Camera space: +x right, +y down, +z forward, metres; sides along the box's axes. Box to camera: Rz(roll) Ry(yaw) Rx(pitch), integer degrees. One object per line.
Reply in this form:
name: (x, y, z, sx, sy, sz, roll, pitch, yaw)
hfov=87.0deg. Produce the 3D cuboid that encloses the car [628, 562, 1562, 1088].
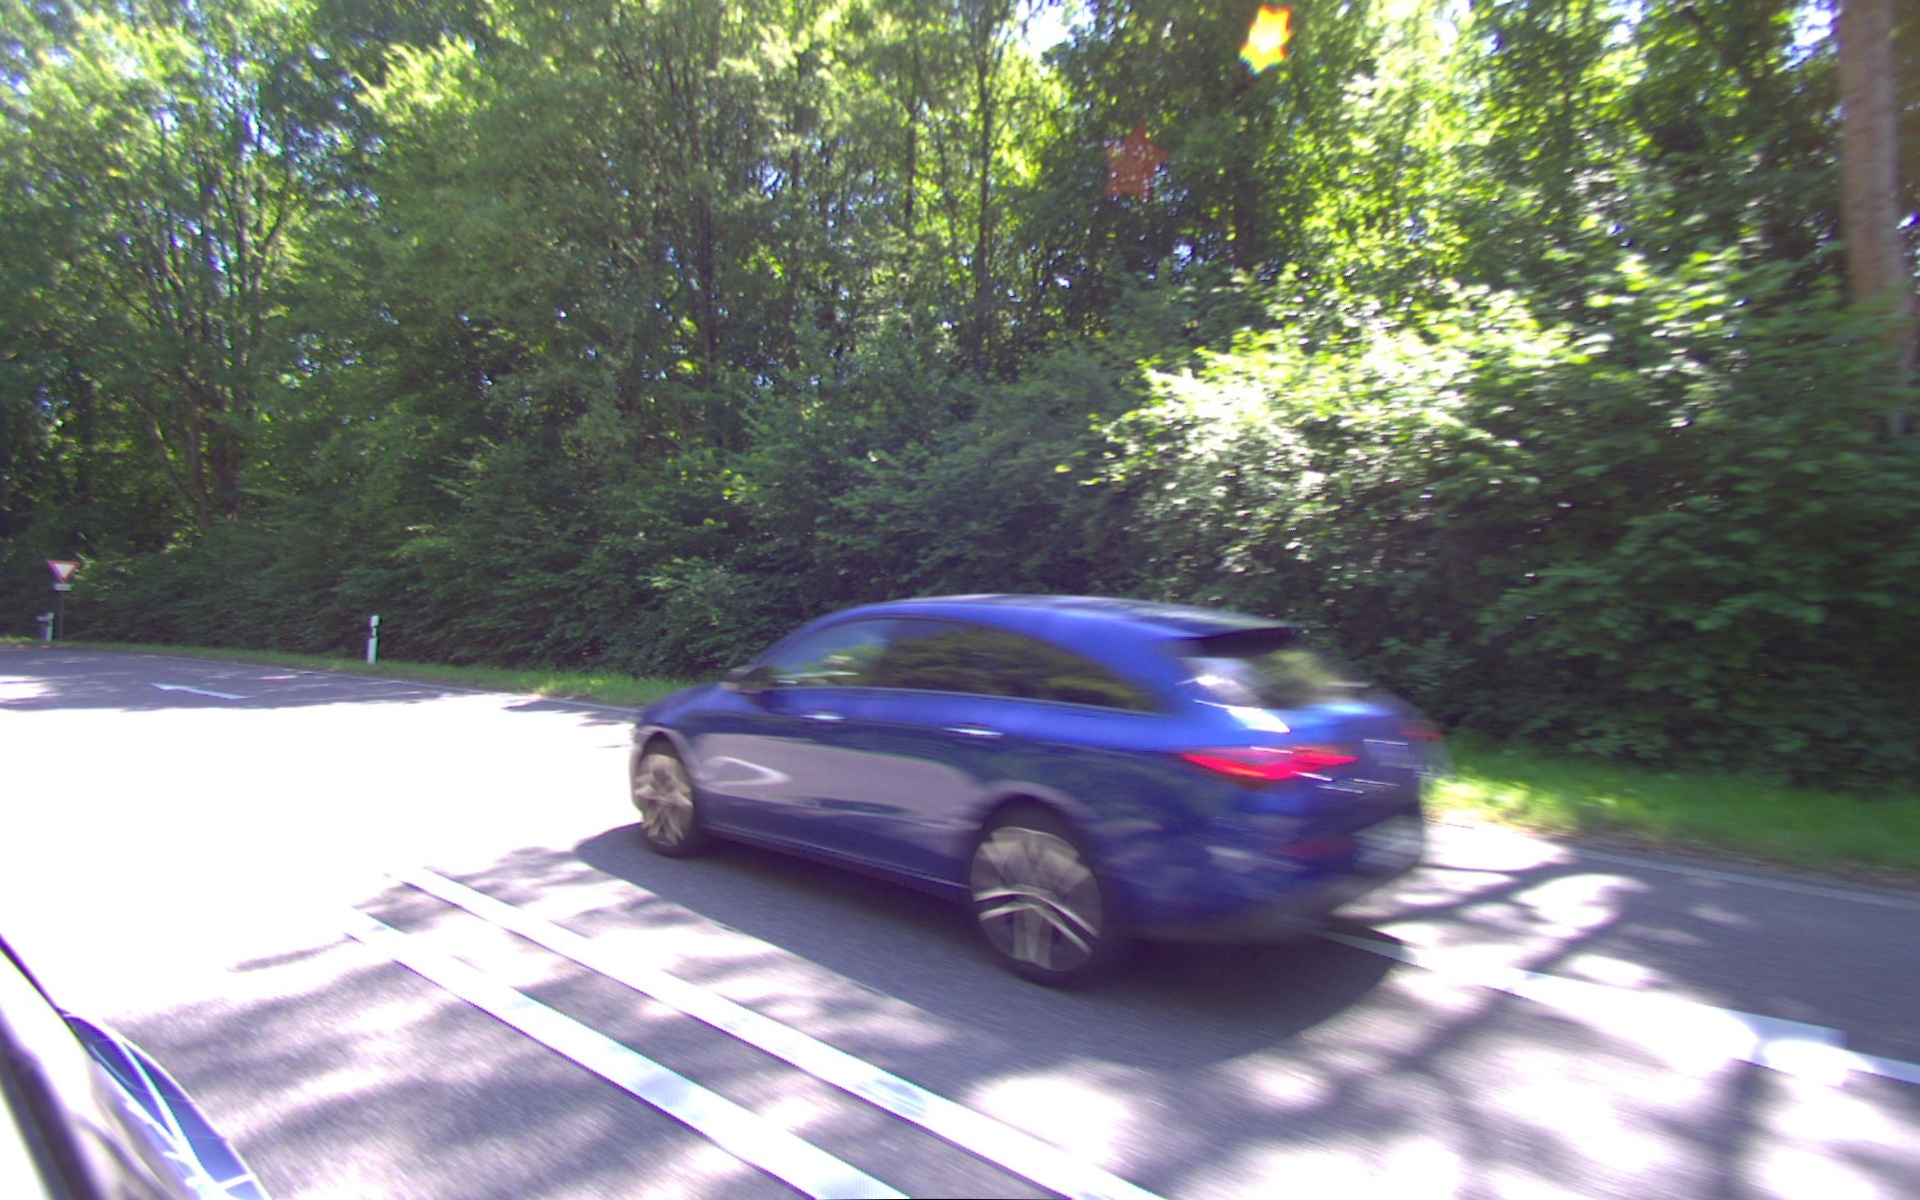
car: (0.222, 0.616, 4.925, 1.768, 1.417, 4.364, 1, -1, -44)
